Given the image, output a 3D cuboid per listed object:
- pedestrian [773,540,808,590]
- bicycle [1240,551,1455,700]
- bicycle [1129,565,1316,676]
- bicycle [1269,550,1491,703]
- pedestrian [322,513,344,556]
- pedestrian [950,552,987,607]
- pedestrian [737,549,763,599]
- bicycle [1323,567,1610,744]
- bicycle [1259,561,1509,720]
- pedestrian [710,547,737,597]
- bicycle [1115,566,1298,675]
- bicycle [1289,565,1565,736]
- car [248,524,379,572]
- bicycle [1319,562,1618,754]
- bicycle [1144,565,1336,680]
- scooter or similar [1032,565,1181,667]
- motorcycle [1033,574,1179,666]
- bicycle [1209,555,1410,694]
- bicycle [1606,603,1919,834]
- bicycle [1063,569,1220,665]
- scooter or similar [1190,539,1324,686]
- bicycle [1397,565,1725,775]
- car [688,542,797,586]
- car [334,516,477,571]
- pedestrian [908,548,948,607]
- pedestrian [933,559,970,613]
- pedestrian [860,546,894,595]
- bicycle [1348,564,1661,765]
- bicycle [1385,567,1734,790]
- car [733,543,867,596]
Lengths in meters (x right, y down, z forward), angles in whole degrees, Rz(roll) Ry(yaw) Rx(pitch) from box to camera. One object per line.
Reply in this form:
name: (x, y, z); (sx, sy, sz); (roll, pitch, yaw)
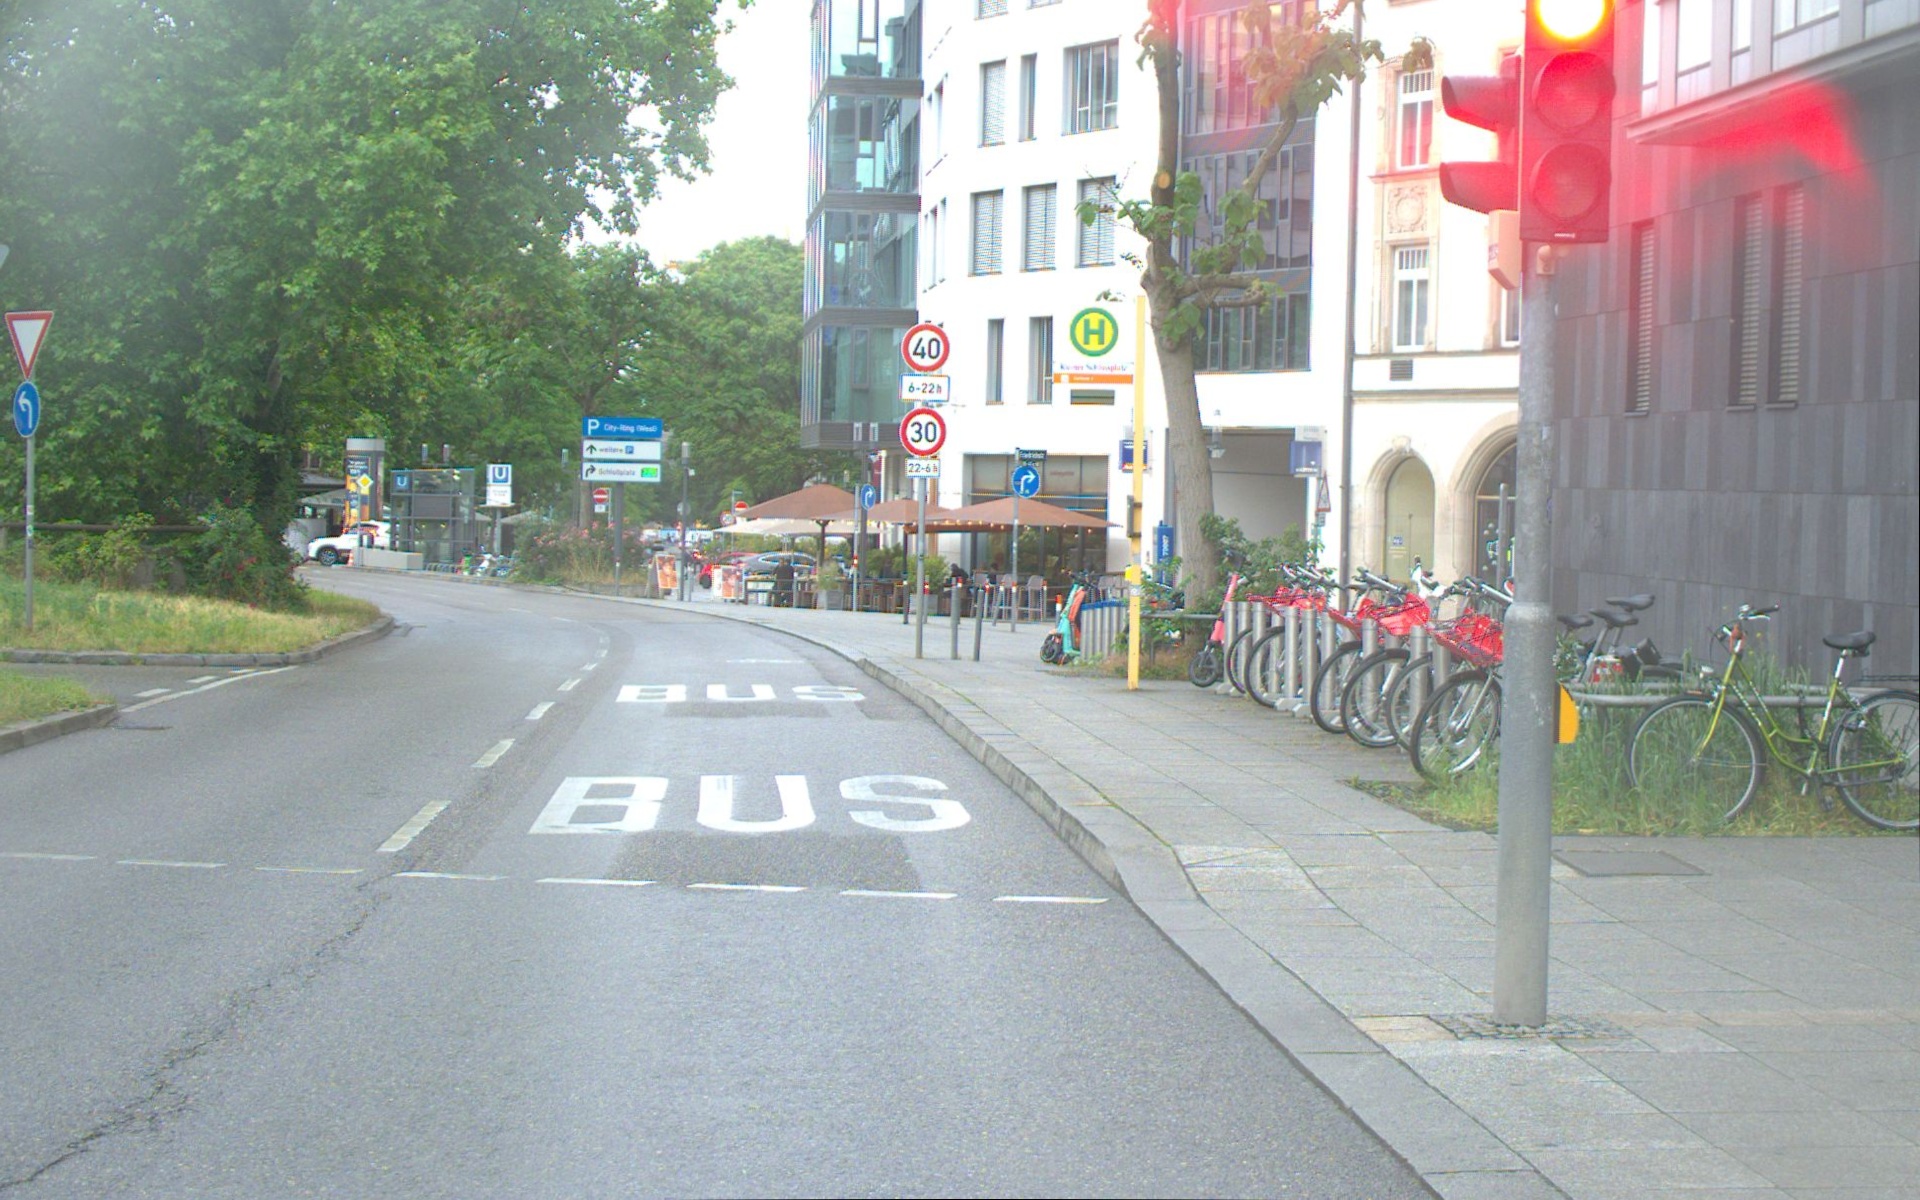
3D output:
pedestrian: (-4.727, -0.975, 95.896); (0.817, 1.322, 0.636); (4, 0, -8)
bicycle: (3.058, 0.202, 27.169); (1.534, 1.136, 0.689); (1, 0, -10)
bicycle: (2.702, 0.212, 35.463); (1.794, 1.064, 0.556); (3, 0, -9)
bicycle: (3.219, 0.203, 26.402); (1.534, 1.136, 0.689); (1, 0, -10)
pedestrian: (-25.454, -2.658, 139.487); (0.722, 1.696, 0.618); (1, 0, 3)
pedestrian: (0.207, -0.519, 86.197); (0.626, 1.322, 0.636); (4, 0, -29)
pedestrian: (-5.733, -0.710, 93.857); (0.606, 1.322, 0.568); (4, 0, -8)
bicycle: (3.331, 0.360, 22.653); (1.729, 1.136, 0.689); (0, 1, -10)
bicycle: (3.159, 0.299, 25.655); (1.705, 1.136, 0.689); (1, 0, -10)
pedestrian: (-6.445, -0.766, 93.768); (0.606, 1.322, 0.568); (4, 0, -8)
bicycle: (2.585, 0.217, 36.163); (1.794, 1.064, 0.556); (3, 0, -9)
bicycle: (3.184, 0.340, 23.520); (1.729, 1.136, 0.689); (0, 1, -10)
car: (-24.020, -1.921, 127.825); (4.332, 1.660, 1.952); (2, 0, 8)
bicycle: (3.213, 0.361, 21.765); (1.729, 1.179, 0.689); (0, 1, -10)
bicycle: (2.802, 0.223, 34.424); (1.794, 1.064, 0.556); (3, 0, -9)
scooter or similar: (1.899, 0.203, 44.710); (1.791, 1.239, 0.596); (3, 0, -9)
motorcycle: (1.931, 0.262, 45.447); (1.791, 1.136, 0.596); (3, 0, -9)
bicycle: (2.941, 0.206, 28.980); (1.534, 1.136, 0.663); (1, 0, -10)
bicycle: (4.071, 0.558, 16.579); (1.729, 1.066, 0.689); (0, 1, -10)
bicycle: (2.242, 0.210, 42.619); (1.794, 1.104, 0.670); (3, 0, -10)
scooter or similar: (2.604, 0.110, 30.120); (1.105, 1.253, 0.302); (1, 0, -11)
bicycle: (3.478, 0.397, 19.951); (1.729, 1.179, 0.689); (0, 1, -10)
car: (-8.349, -1.382, 131.818); (3.997, 1.505, 1.796); (4, 2, 41)
car: (-19.405, -1.993, 120.374); (4.734, 1.685, 2.005); (2, 1, -5)
pedestrian: (-0.749, -0.535, 80.868); (0.773, 1.322, 0.636); (4, 0, -9)
pedestrian: (-0.209, -0.349, 87.379); (0.626, 1.322, 0.636); (4, 0, -29)
pedestrian: (-2.331, -0.828, 96.278); (0.817, 1.322, 0.636); (4, 0, -8)
bicycle: (3.284, 0.382, 20.789); (1.729, 1.179, 0.689); (0, 1, -10)
bicycle: (3.263, 0.420, 18.761); (1.729, 1.179, 0.689); (0, 1, -10)
car: (-5.820, -1.105, 124.686); (4.734, 1.685, 2.005); (2, 1, -5)
